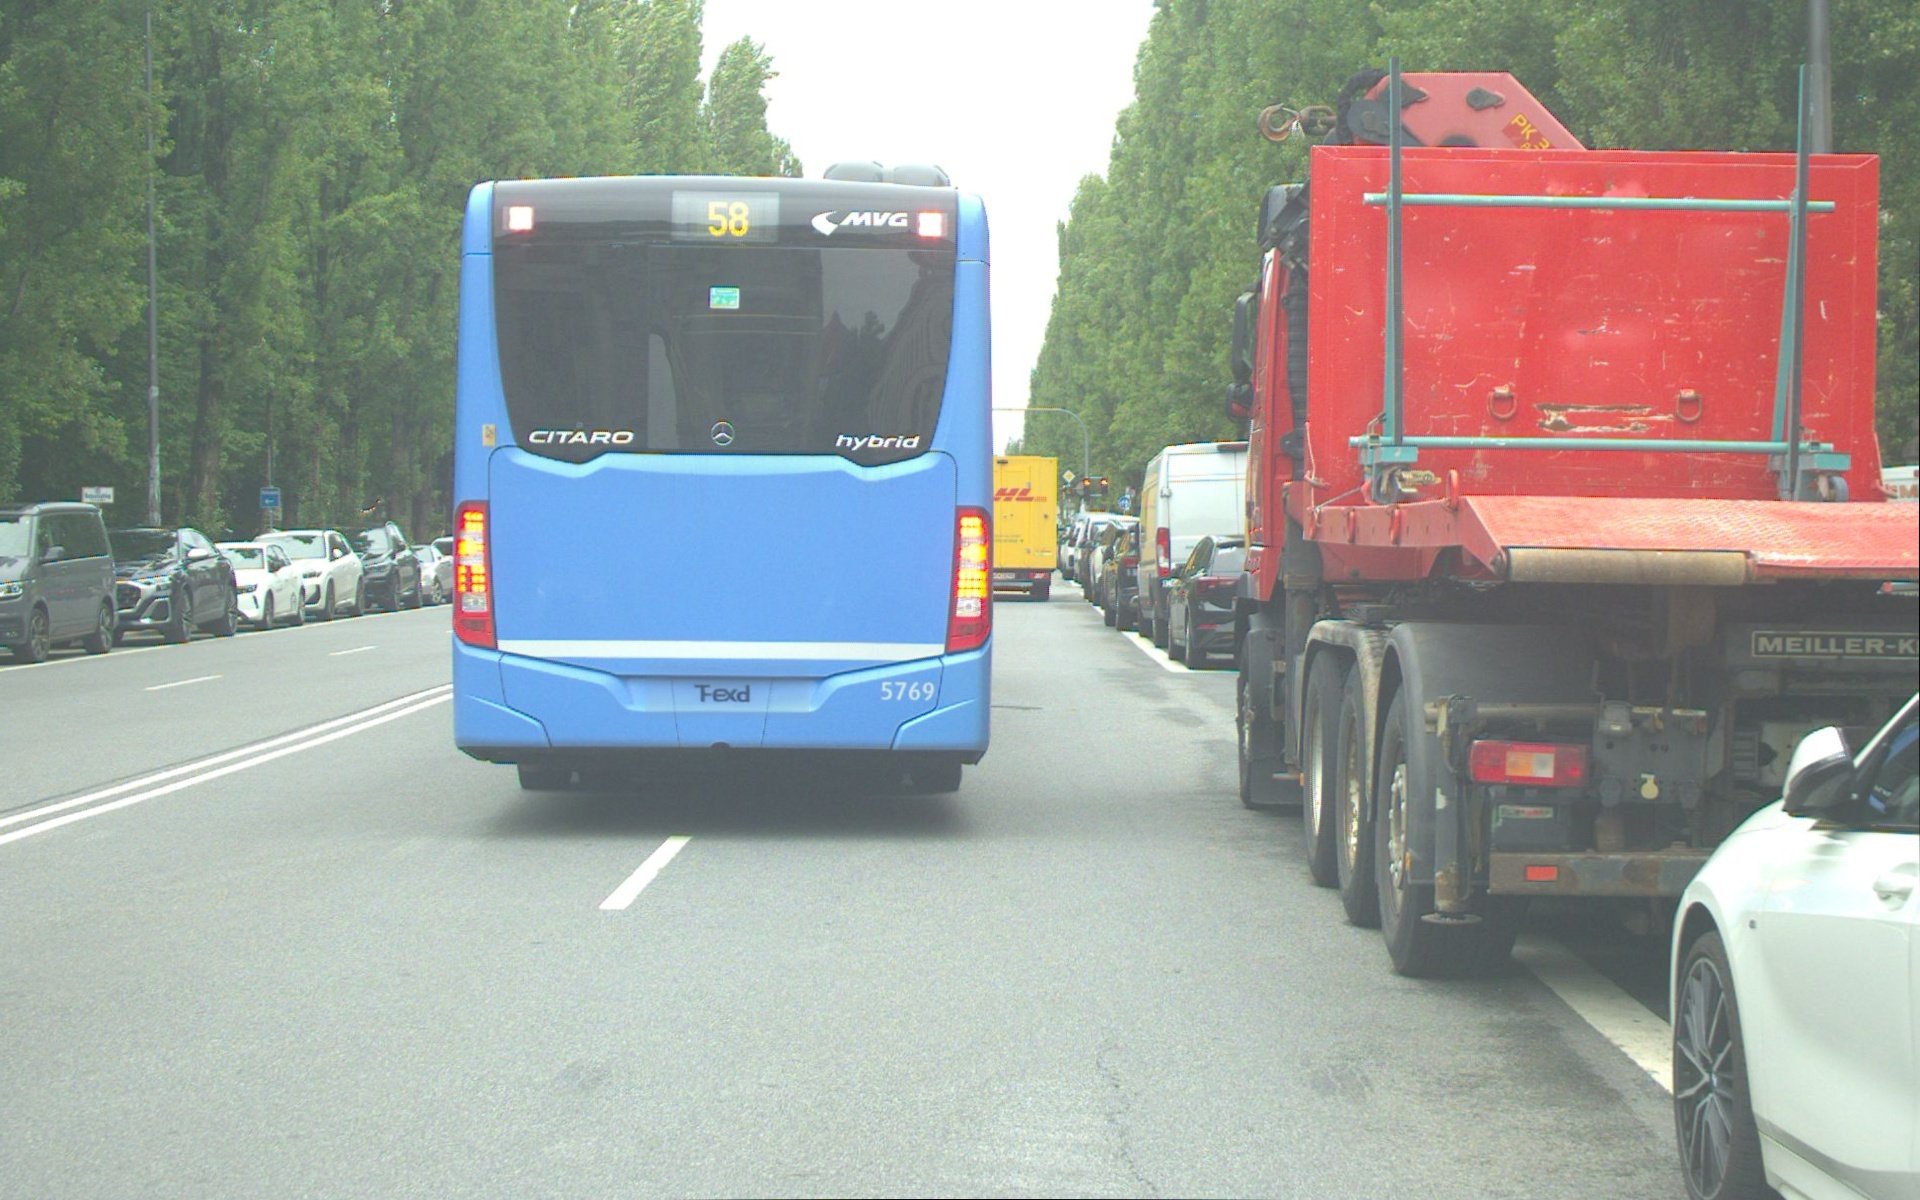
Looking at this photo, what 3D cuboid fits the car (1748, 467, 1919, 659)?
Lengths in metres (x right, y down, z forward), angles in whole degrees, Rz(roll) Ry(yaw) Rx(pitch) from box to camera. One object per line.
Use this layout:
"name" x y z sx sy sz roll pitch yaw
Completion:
"car" 10.044 -0.423 37.145 1.993 1.939 5.083 0 1 1

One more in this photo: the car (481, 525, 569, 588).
"car" -11.455 -1.166 90.762 1.814 1.637 4.000 0 1 0

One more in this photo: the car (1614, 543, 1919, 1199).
"car" 2.412 0.659 5.900 1.788 1.455 4.218 1 1 0

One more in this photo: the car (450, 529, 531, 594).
"car" -11.701 -0.976 85.794 1.743 1.513 4.119 -2 1 -5

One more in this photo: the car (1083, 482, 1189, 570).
"car" 3.348 -1.416 66.096 1.781 1.576 4.147 2 1 0

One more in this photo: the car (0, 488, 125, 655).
"car" -12.002 -0.367 42.665 1.993 1.950 4.937 -2 1 0

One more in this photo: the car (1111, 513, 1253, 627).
"car" 3.226 -0.470 50.666 1.821 1.585 4.223 1 1 0

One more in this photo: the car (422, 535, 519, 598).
"car" -11.481 -0.805 80.836 1.685 1.408 4.005 -2 1 0

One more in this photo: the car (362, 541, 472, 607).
"car" -11.497 -0.573 72.982 1.580 1.300 4.029 -2 1 1

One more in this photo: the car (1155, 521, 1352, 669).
"car" 3.128 -0.098 37.325 1.754 1.445 4.000 2 1 0

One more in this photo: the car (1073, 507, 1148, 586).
"car" 3.836 -1.389 88.199 1.806 1.969 4.236 0 1 1

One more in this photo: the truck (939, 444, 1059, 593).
"truck" 0.771 -1.661 70.486 2.327 2.888 7.333 0 1 0

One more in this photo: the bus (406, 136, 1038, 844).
"bus" -1.223 -0.603 20.198 2.855 3.202 9.061 0 1 -2

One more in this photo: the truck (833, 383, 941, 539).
"truck" -1.971 -3.620 91.652 2.715 3.951 9.219 0 1 -1

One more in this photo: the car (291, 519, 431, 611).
"car" -11.665 -0.716 67.244 1.880 1.652 4.718 -3 2 -1

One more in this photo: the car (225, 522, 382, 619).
"car" -11.682 -0.556 61.402 1.785 1.583 4.461 -2 2 1

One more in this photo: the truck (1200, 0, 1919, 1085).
"truck" 2.651 -0.373 14.400 2.713 3.099 10.427 0 1 1

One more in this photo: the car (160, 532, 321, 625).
"car" -11.732 -0.372 56.286 1.676 1.417 4.237 -2 1 0

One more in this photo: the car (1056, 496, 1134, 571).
"car" 3.739 -1.881 96.144 2.052 2.007 5.692 0 1 1

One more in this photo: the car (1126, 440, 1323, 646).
"car" 3.356 -0.763 44.803 2.074 2.470 6.284 1 1 0

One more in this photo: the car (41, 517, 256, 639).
"car" -11.615 -0.348 49.542 1.815 1.603 5.053 -2 1 0
